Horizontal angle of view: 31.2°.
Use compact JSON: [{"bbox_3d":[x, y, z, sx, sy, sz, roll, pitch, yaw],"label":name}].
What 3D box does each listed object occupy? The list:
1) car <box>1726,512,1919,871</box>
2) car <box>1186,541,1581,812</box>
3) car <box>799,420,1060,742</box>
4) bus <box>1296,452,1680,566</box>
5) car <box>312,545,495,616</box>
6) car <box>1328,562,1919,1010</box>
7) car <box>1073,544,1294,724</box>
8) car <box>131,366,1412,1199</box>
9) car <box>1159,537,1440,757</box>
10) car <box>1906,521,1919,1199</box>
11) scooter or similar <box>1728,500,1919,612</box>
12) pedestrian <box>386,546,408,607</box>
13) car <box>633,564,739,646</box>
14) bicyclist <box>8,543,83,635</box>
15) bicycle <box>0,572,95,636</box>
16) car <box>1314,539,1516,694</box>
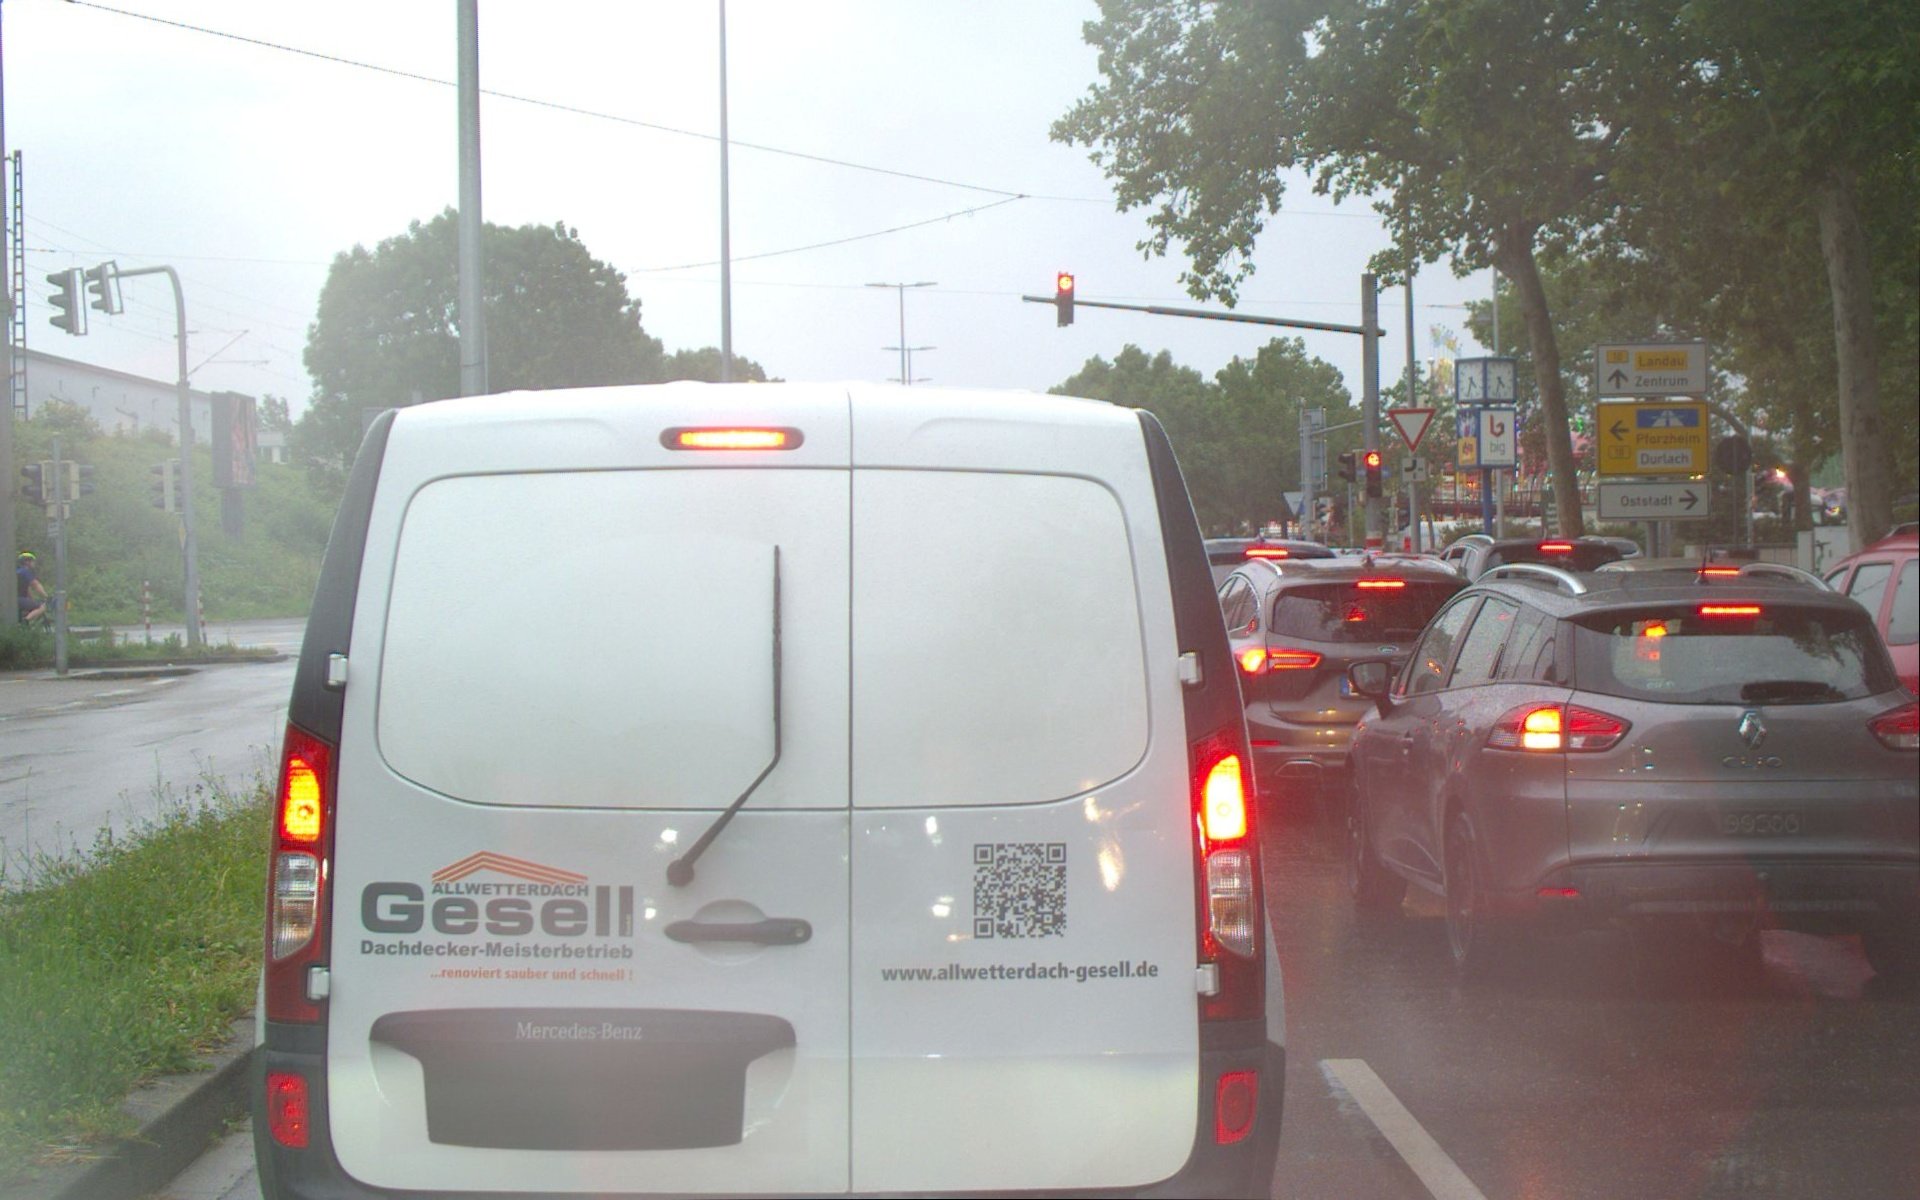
[{"bbox_3d":[5.350,0.430,17.880,1.710,1.688,4.272,1,0,-1],"label":"car"},{"bbox_3d":[2.433,0.382,20.642,1.854,1.455,3.843,0,1,-1],"label":"car"},{"bbox_3d":[-0.236,-0.175,26.467,1.854,2.288,3.843,0,1,-1],"label":"car"},{"bbox_3d":[16.963,-2.924,110.885,11.970,3.411,2.315,-1,1,0],"label":"bus"},{"bbox_3d":[-13.750,-0.490,84.952,3.987,1.711,2.000,-1,1,-36],"label":"car"},{"bbox_3d":[2.500,0.586,13.087,1.683,1.403,3.843,1,1,-1],"label":"car"},{"bbox_3d":[2.116,0.290,33.533,1.854,1.644,3.843,0,1,-1],"label":"car"},{"bbox_3d":[-0.316,0.474,7.661,1.993,1.770,4.585,0,1,-1],"label":"car"},{"bbox_3d":[2.674,0.318,27.870,1.854,1.644,3.843,0,1,-1],"label":"car"},{"bbox_3d":[2.977,0.643,5.418,1.747,1.549,4.091,0,1,-1],"label":"car"},{"bbox_3d":[19.988,-0.990,77.071,1.890,2.437,5.316,-1,1,-41],"label":"scooter or similar"},{"bbox_3d":[-15.762,-0.653,96.220,0.543,1.710,0.563,1,0,-4],"label":"pedestrian"},{"bbox_3d":[-5.435,0.075,68.474,1.816,1.457,4.000,-3,1,-1],"label":"car"},{"bbox_3d":[-14.775,-0.190,55.537,1.040,1.445,0.729,-2,2,-25],"label":"bicyclist"},{"bbox_3d":[-14.794,0.053,55.594,1.040,0.949,2.889,-2,2,-25],"label":"bicycle"},{"bbox_3d":[5.056,0.160,38.643,1.708,1.644,3.843,0,1,-1],"label":"car"}]
